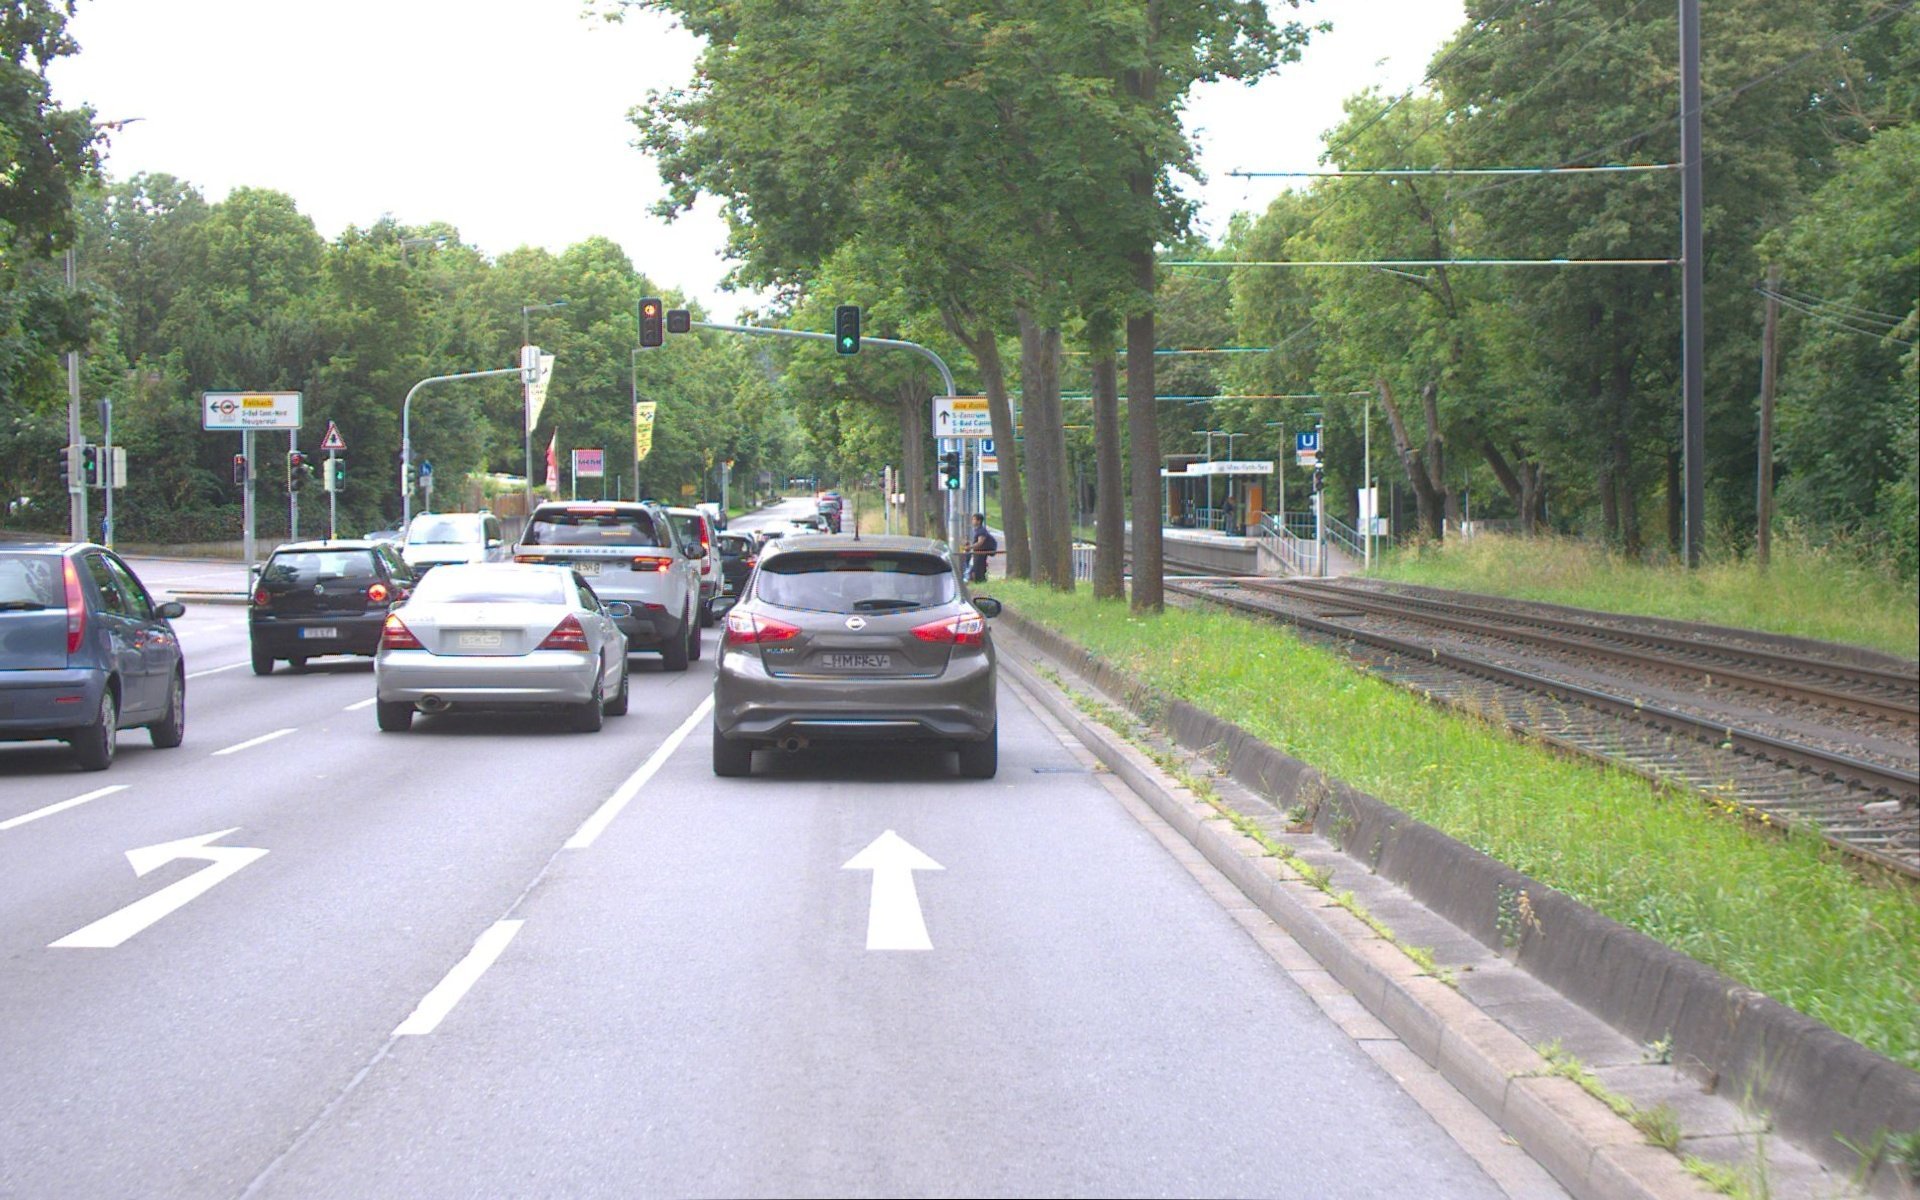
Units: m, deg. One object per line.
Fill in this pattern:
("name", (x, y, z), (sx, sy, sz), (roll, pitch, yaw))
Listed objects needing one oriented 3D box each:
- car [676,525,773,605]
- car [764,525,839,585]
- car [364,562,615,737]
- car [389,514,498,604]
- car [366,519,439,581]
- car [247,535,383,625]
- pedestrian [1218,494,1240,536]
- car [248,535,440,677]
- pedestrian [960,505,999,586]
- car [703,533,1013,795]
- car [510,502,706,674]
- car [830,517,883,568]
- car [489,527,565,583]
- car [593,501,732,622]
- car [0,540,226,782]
("car", (-4.447, -0.688, 65.301), (1.703, 1.475, 3.668), (0, 1, -2))
("car", (-4.071, -1.176, 88.656), (1.710, 1.470, 3.671), (1, 1, 0))
("car", (-3.668, 0.343, 27.307), (1.555, 1.262, 3.823), (0, 1, -1))
("car", (-11.007, -0.906, 73.470), (1.791, 1.825, 4.410), (-1, 1, -2))
("car", (-16.994, -1.537, 104.912), (1.943, 1.805, 4.445), (1, 1, -6))
("car", (-10.515, -0.355, 56.237), (1.630, 1.390, 3.834), (0, 1, -2))
("pedestrian", (9.962, -3.152, 127.202), (0.718, 1.506, 0.724), (2, 1, 1))
("car", (-6.948, 0.032, 39.100), (1.556, 1.461, 3.808), (-2, 2, -2))
("pedestrian", (0.434, -1.198, 75.600), (0.752, 1.731, 0.839), (-2, 1, 3))
("car", (-0.609, 0.347, 22.619), (1.837, 1.523, 3.929), (1, 1, 0))
("car", (-3.885, -0.162, 38.599), (1.803, 1.788, 4.504), (1, 1, -1))
("car", (-3.220, -1.809, 107.033), (1.503, 1.523, 3.671), (1, 1, 0))
("car", (-12.326, -1.298, 98.022), (1.739, 1.533, 3.910), (1, 1, -2))
("car", (-4.732, -0.649, 55.296), (1.907, 1.837, 5.282), (0, 1, -2))
("car", (-6.190, 0.357, 23.183), (1.591, 1.463, 3.929), (-1, 1, 0))
